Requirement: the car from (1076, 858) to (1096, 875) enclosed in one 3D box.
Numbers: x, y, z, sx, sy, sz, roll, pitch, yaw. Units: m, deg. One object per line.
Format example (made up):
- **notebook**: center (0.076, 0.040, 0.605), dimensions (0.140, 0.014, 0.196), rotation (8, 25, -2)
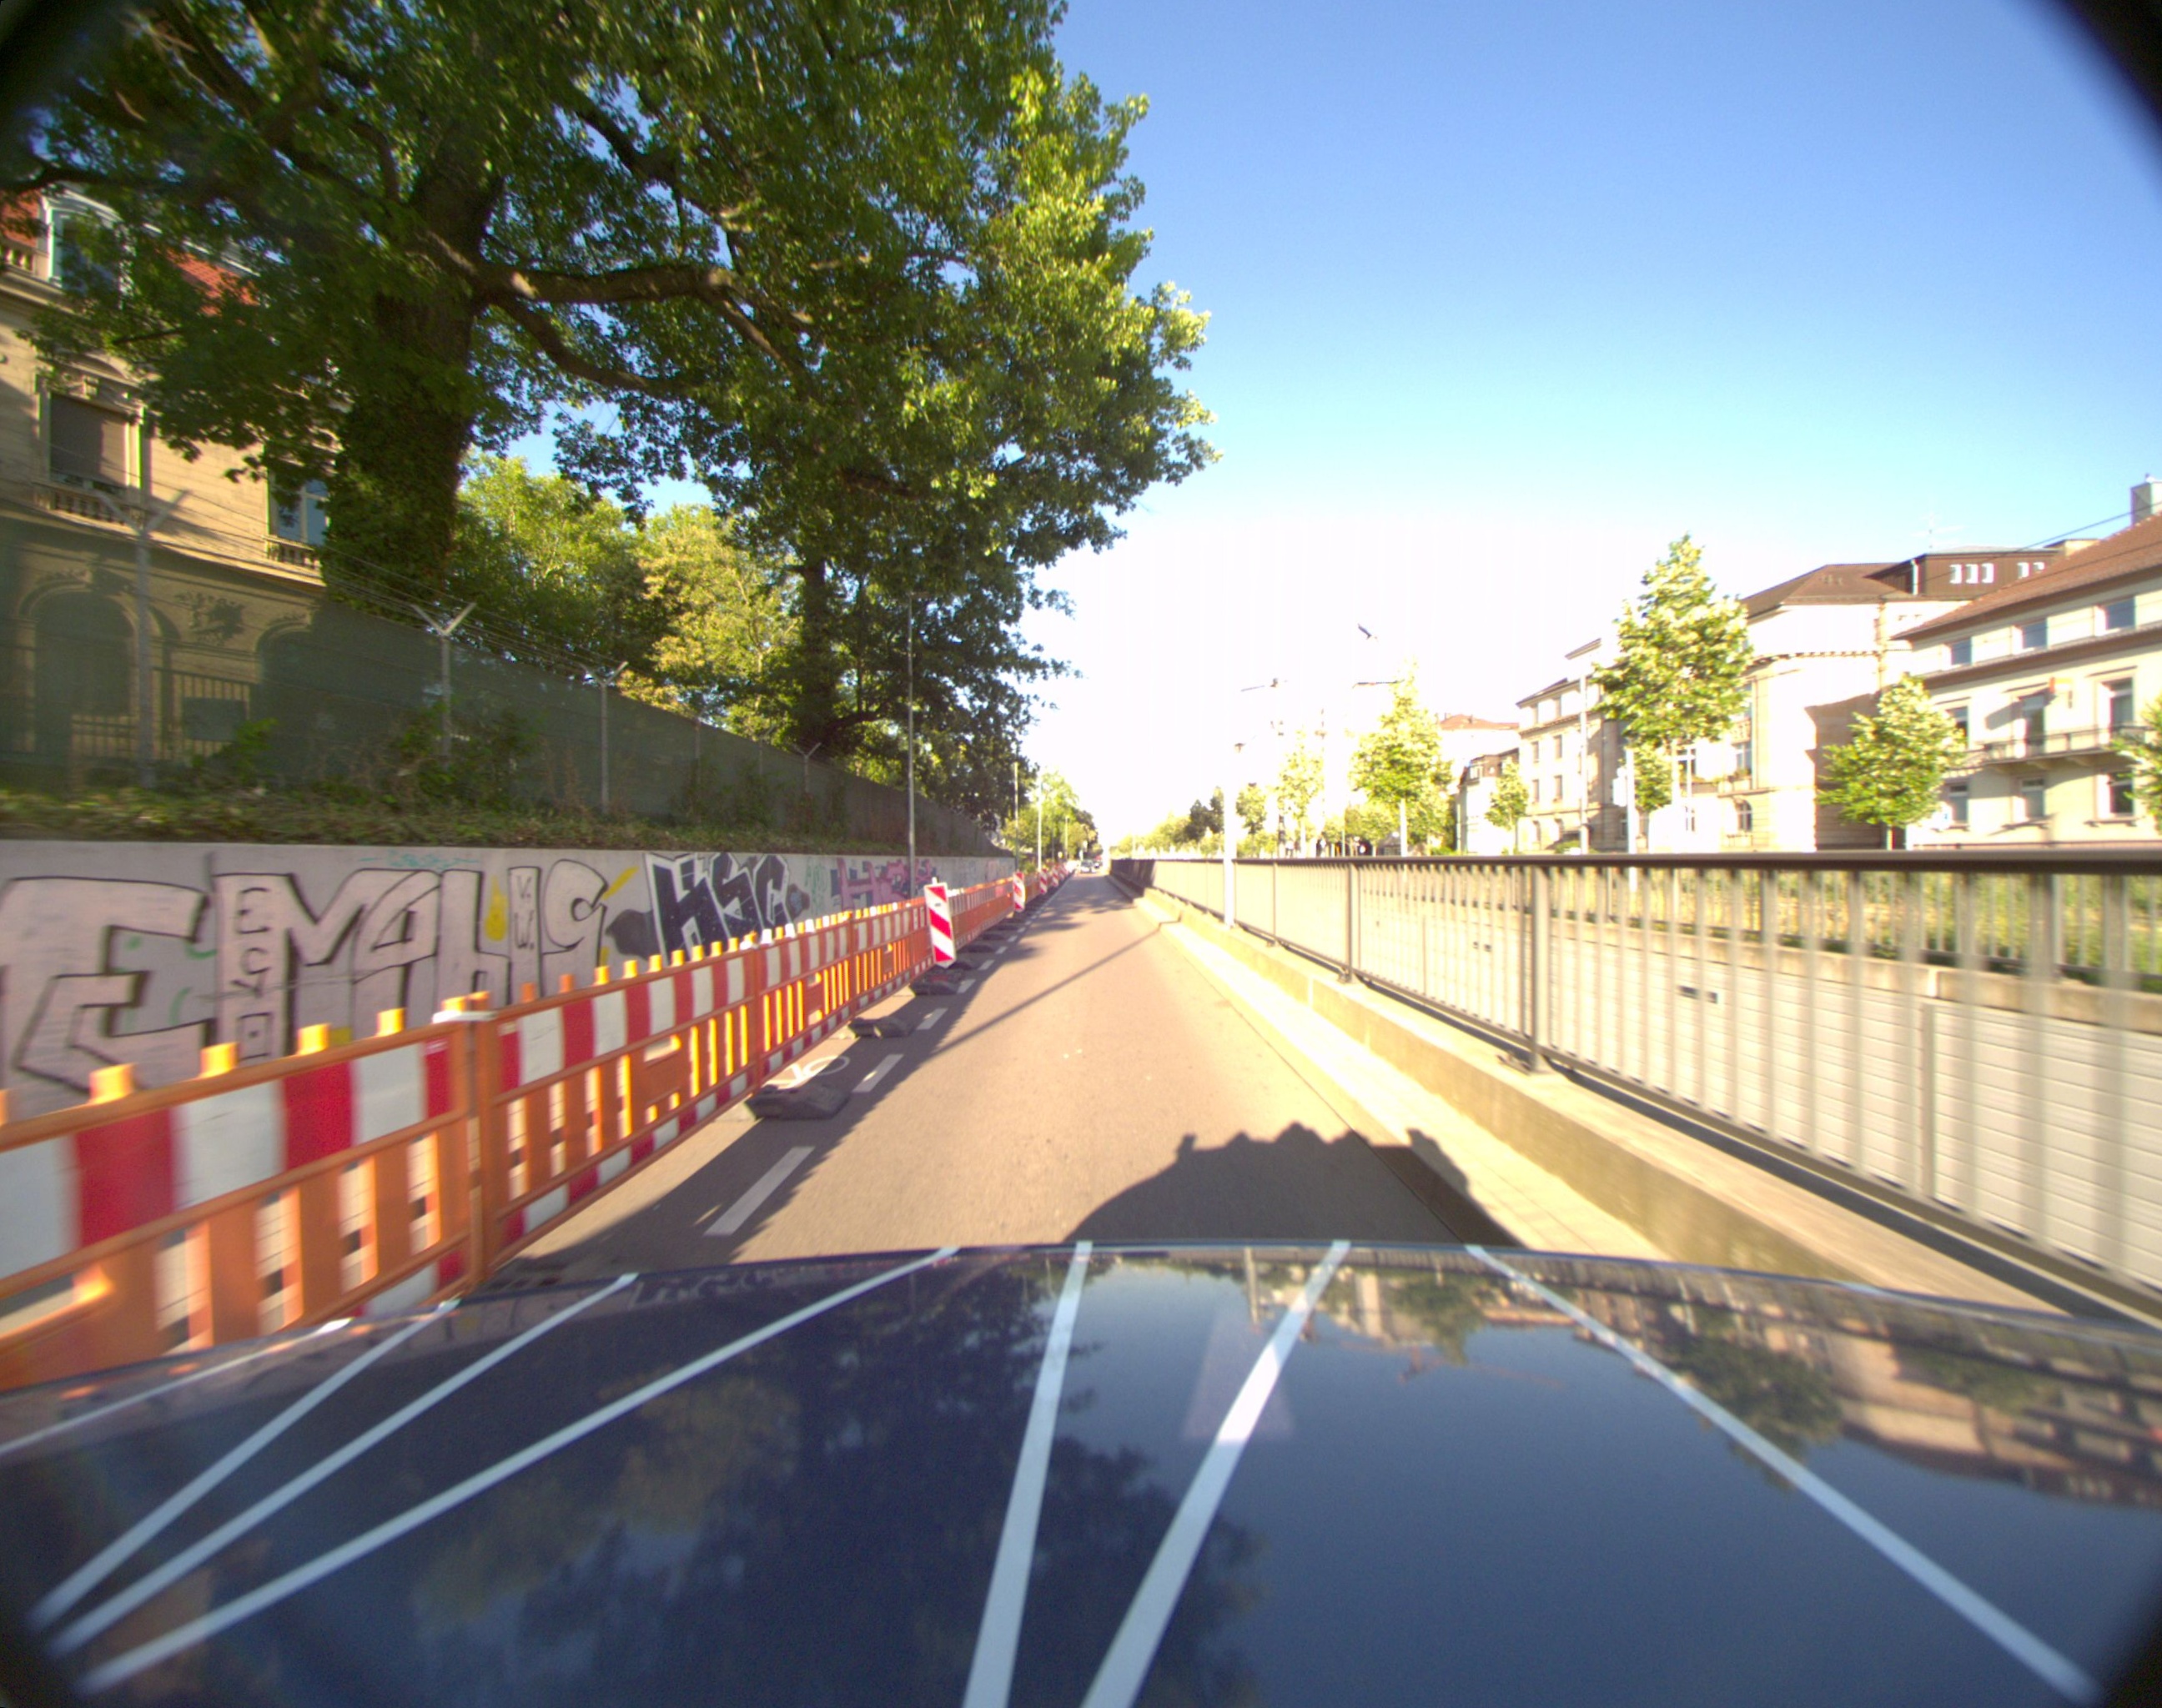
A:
- **car**: center (0.598, 1.324, 83.366), dimensions (2.080, 1.827, 4.000), rotation (-1, 0, 1)
